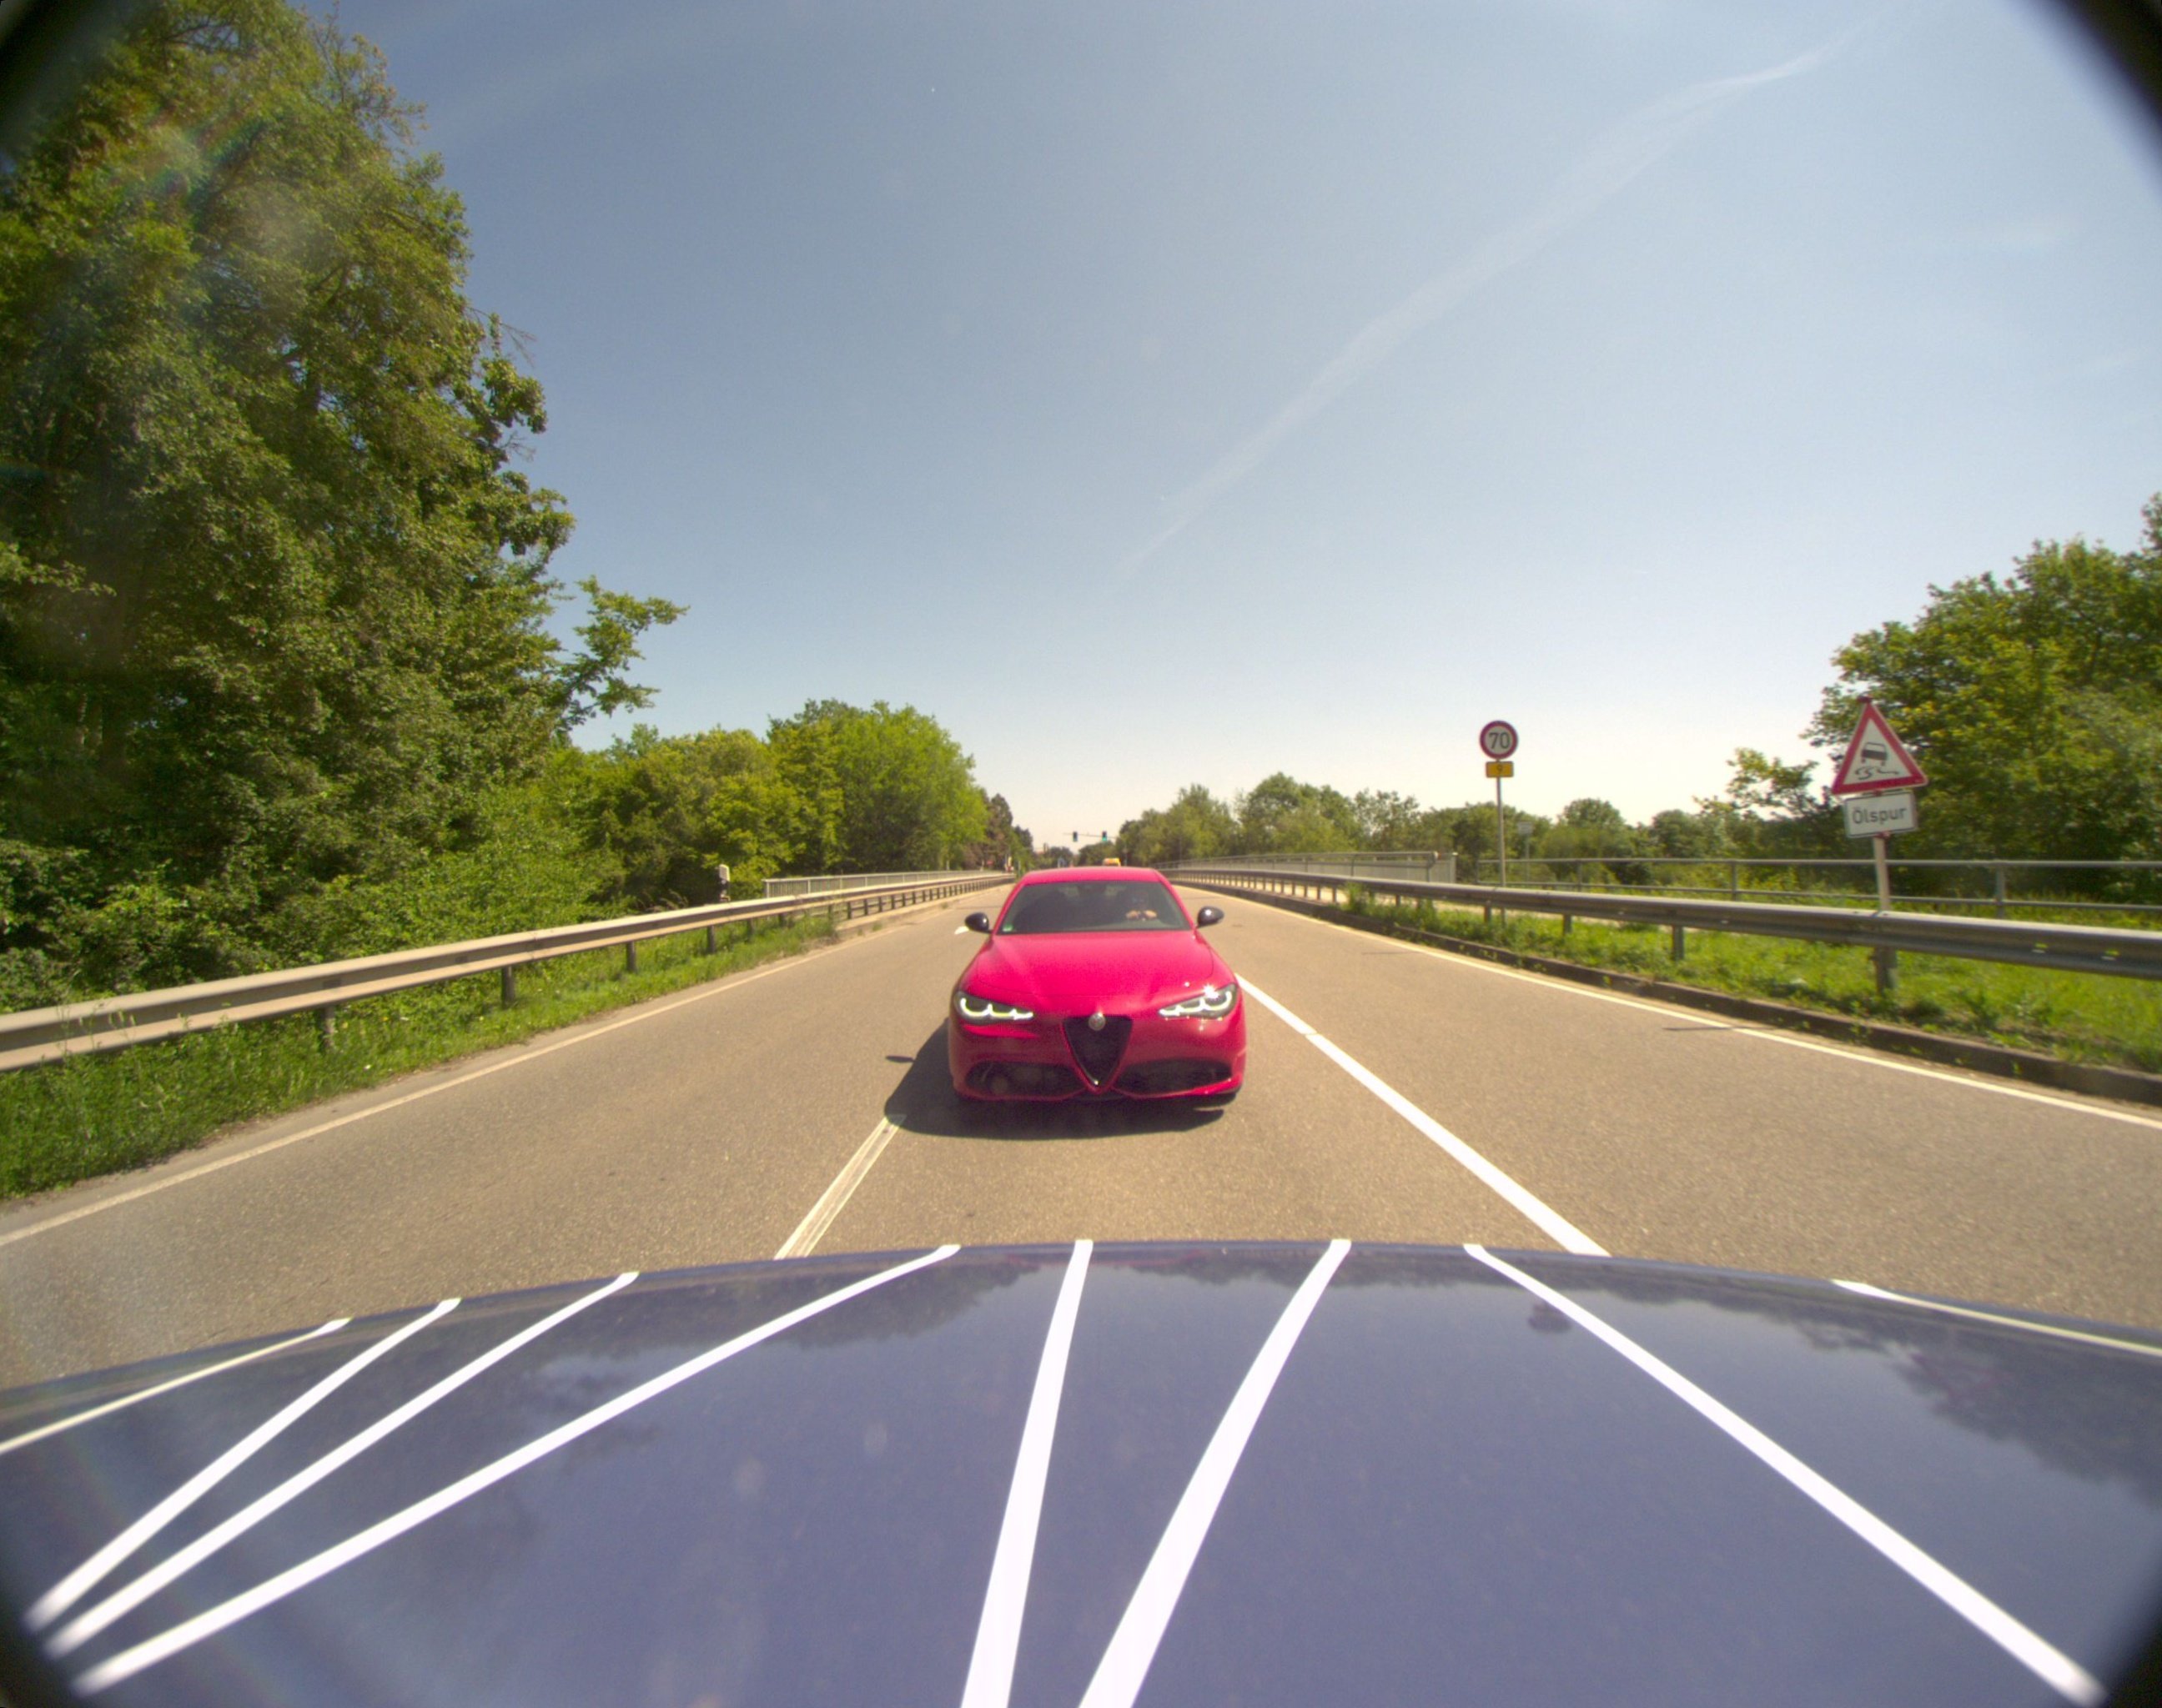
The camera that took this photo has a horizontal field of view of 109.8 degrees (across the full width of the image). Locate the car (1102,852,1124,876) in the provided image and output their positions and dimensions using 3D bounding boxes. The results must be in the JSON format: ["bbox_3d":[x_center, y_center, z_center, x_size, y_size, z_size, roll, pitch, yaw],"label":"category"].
[{"bbox_3d":[3.310,1.028,79.160,1.995,2.354,5.181,-2,0,0],"label":"car"}]

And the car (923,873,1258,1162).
[{"bbox_3d":[0.066,0.950,6.291,1.800,1.448,4.285,-1,0,0],"label":"car"}]

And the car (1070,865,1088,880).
[{"bbox_3d":[-0.169,1.998,83.228,1.800,1.448,3.707,-1,0,1],"label":"car"}]

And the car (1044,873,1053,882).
[{"bbox_3d":[-5.592,4.061,130.977,1.416,1.499,3.316,-1,0,0],"label":"car"}]

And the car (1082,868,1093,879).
[{"bbox_3d":[1.067,3.412,130.668,1.848,1.758,4.000,-1,0,0],"label":"car"}]
